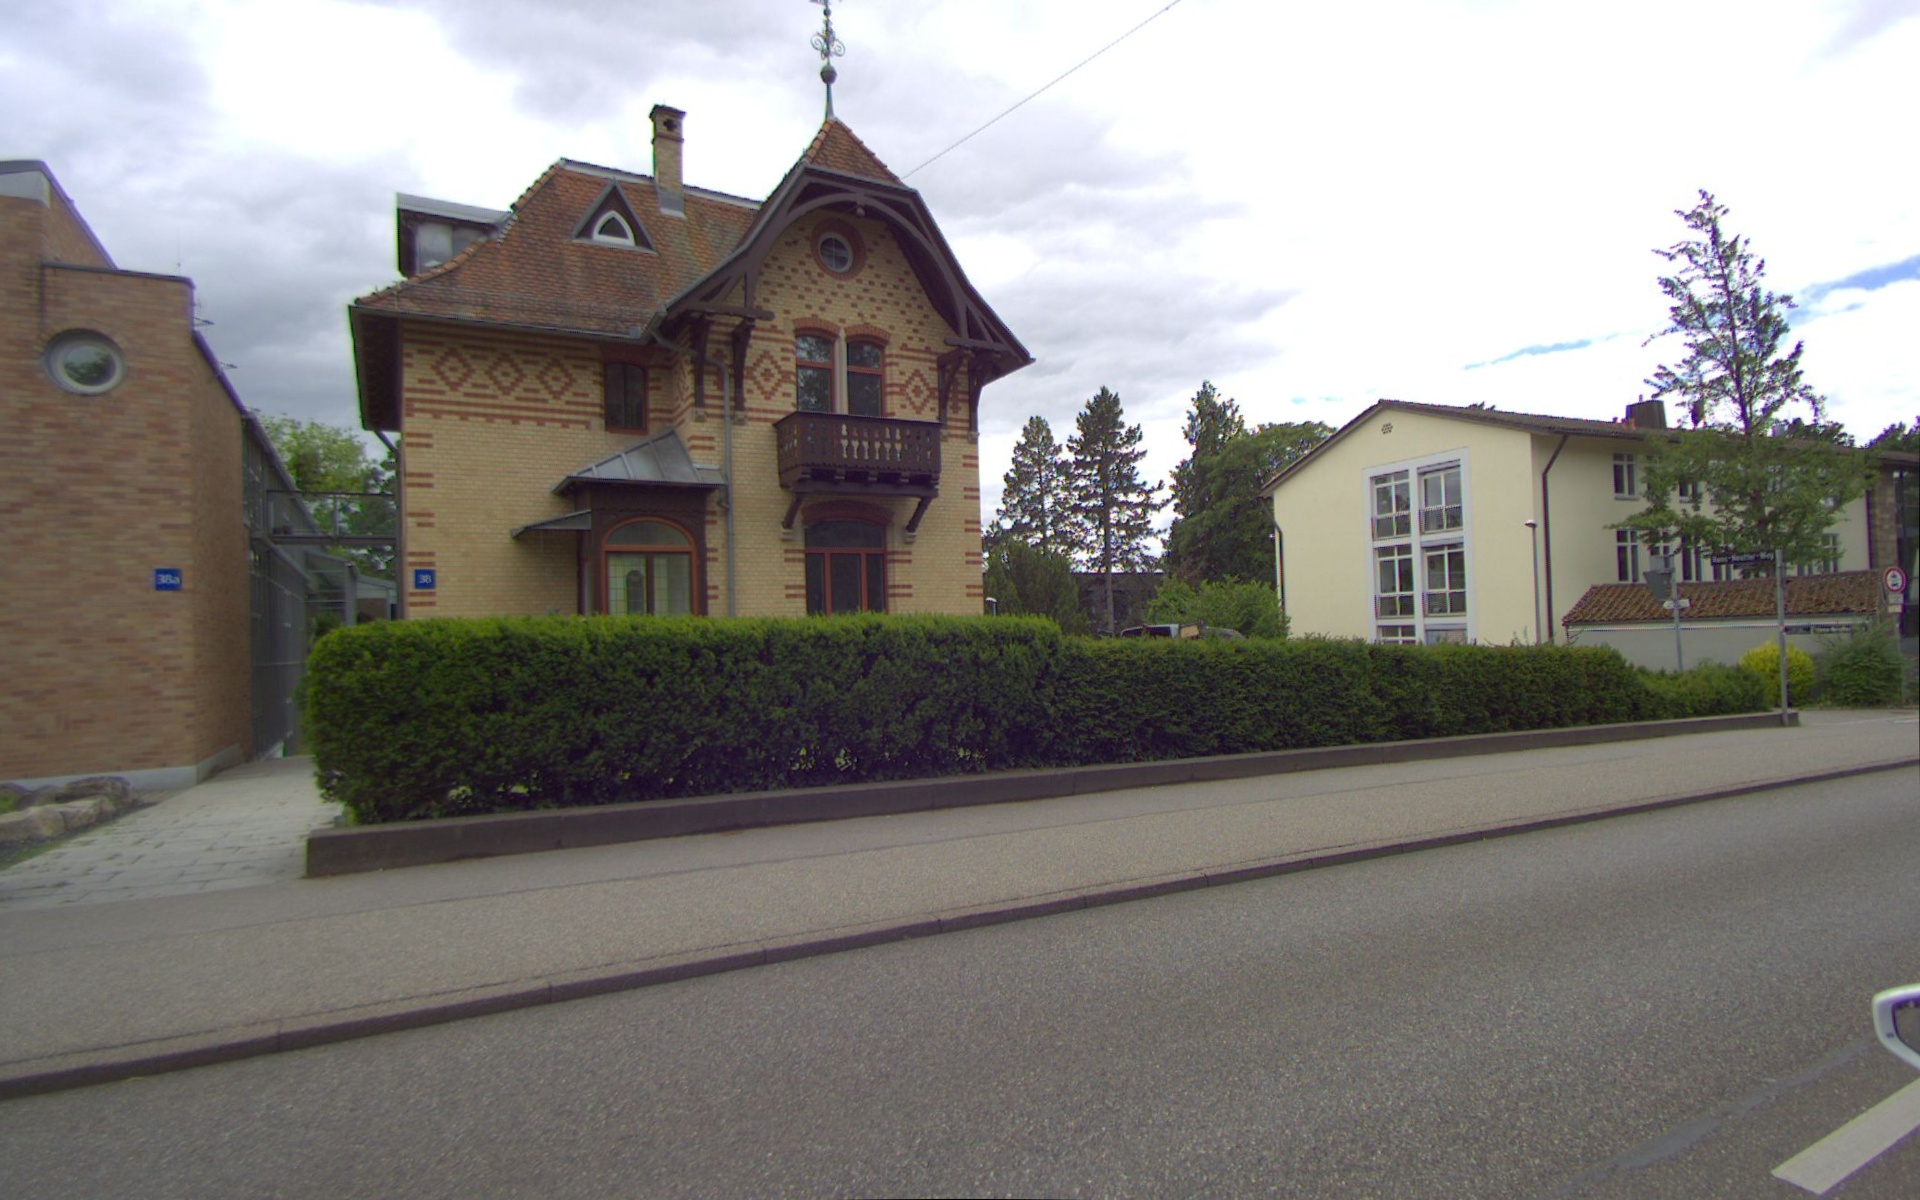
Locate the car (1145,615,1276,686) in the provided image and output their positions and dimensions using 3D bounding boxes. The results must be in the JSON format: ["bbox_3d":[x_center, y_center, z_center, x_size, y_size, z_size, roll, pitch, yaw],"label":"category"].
[{"bbox_3d":[6.210,1.230,24.689,1.666,1.616,3.488,-3,-3,43],"label":"car"}]
